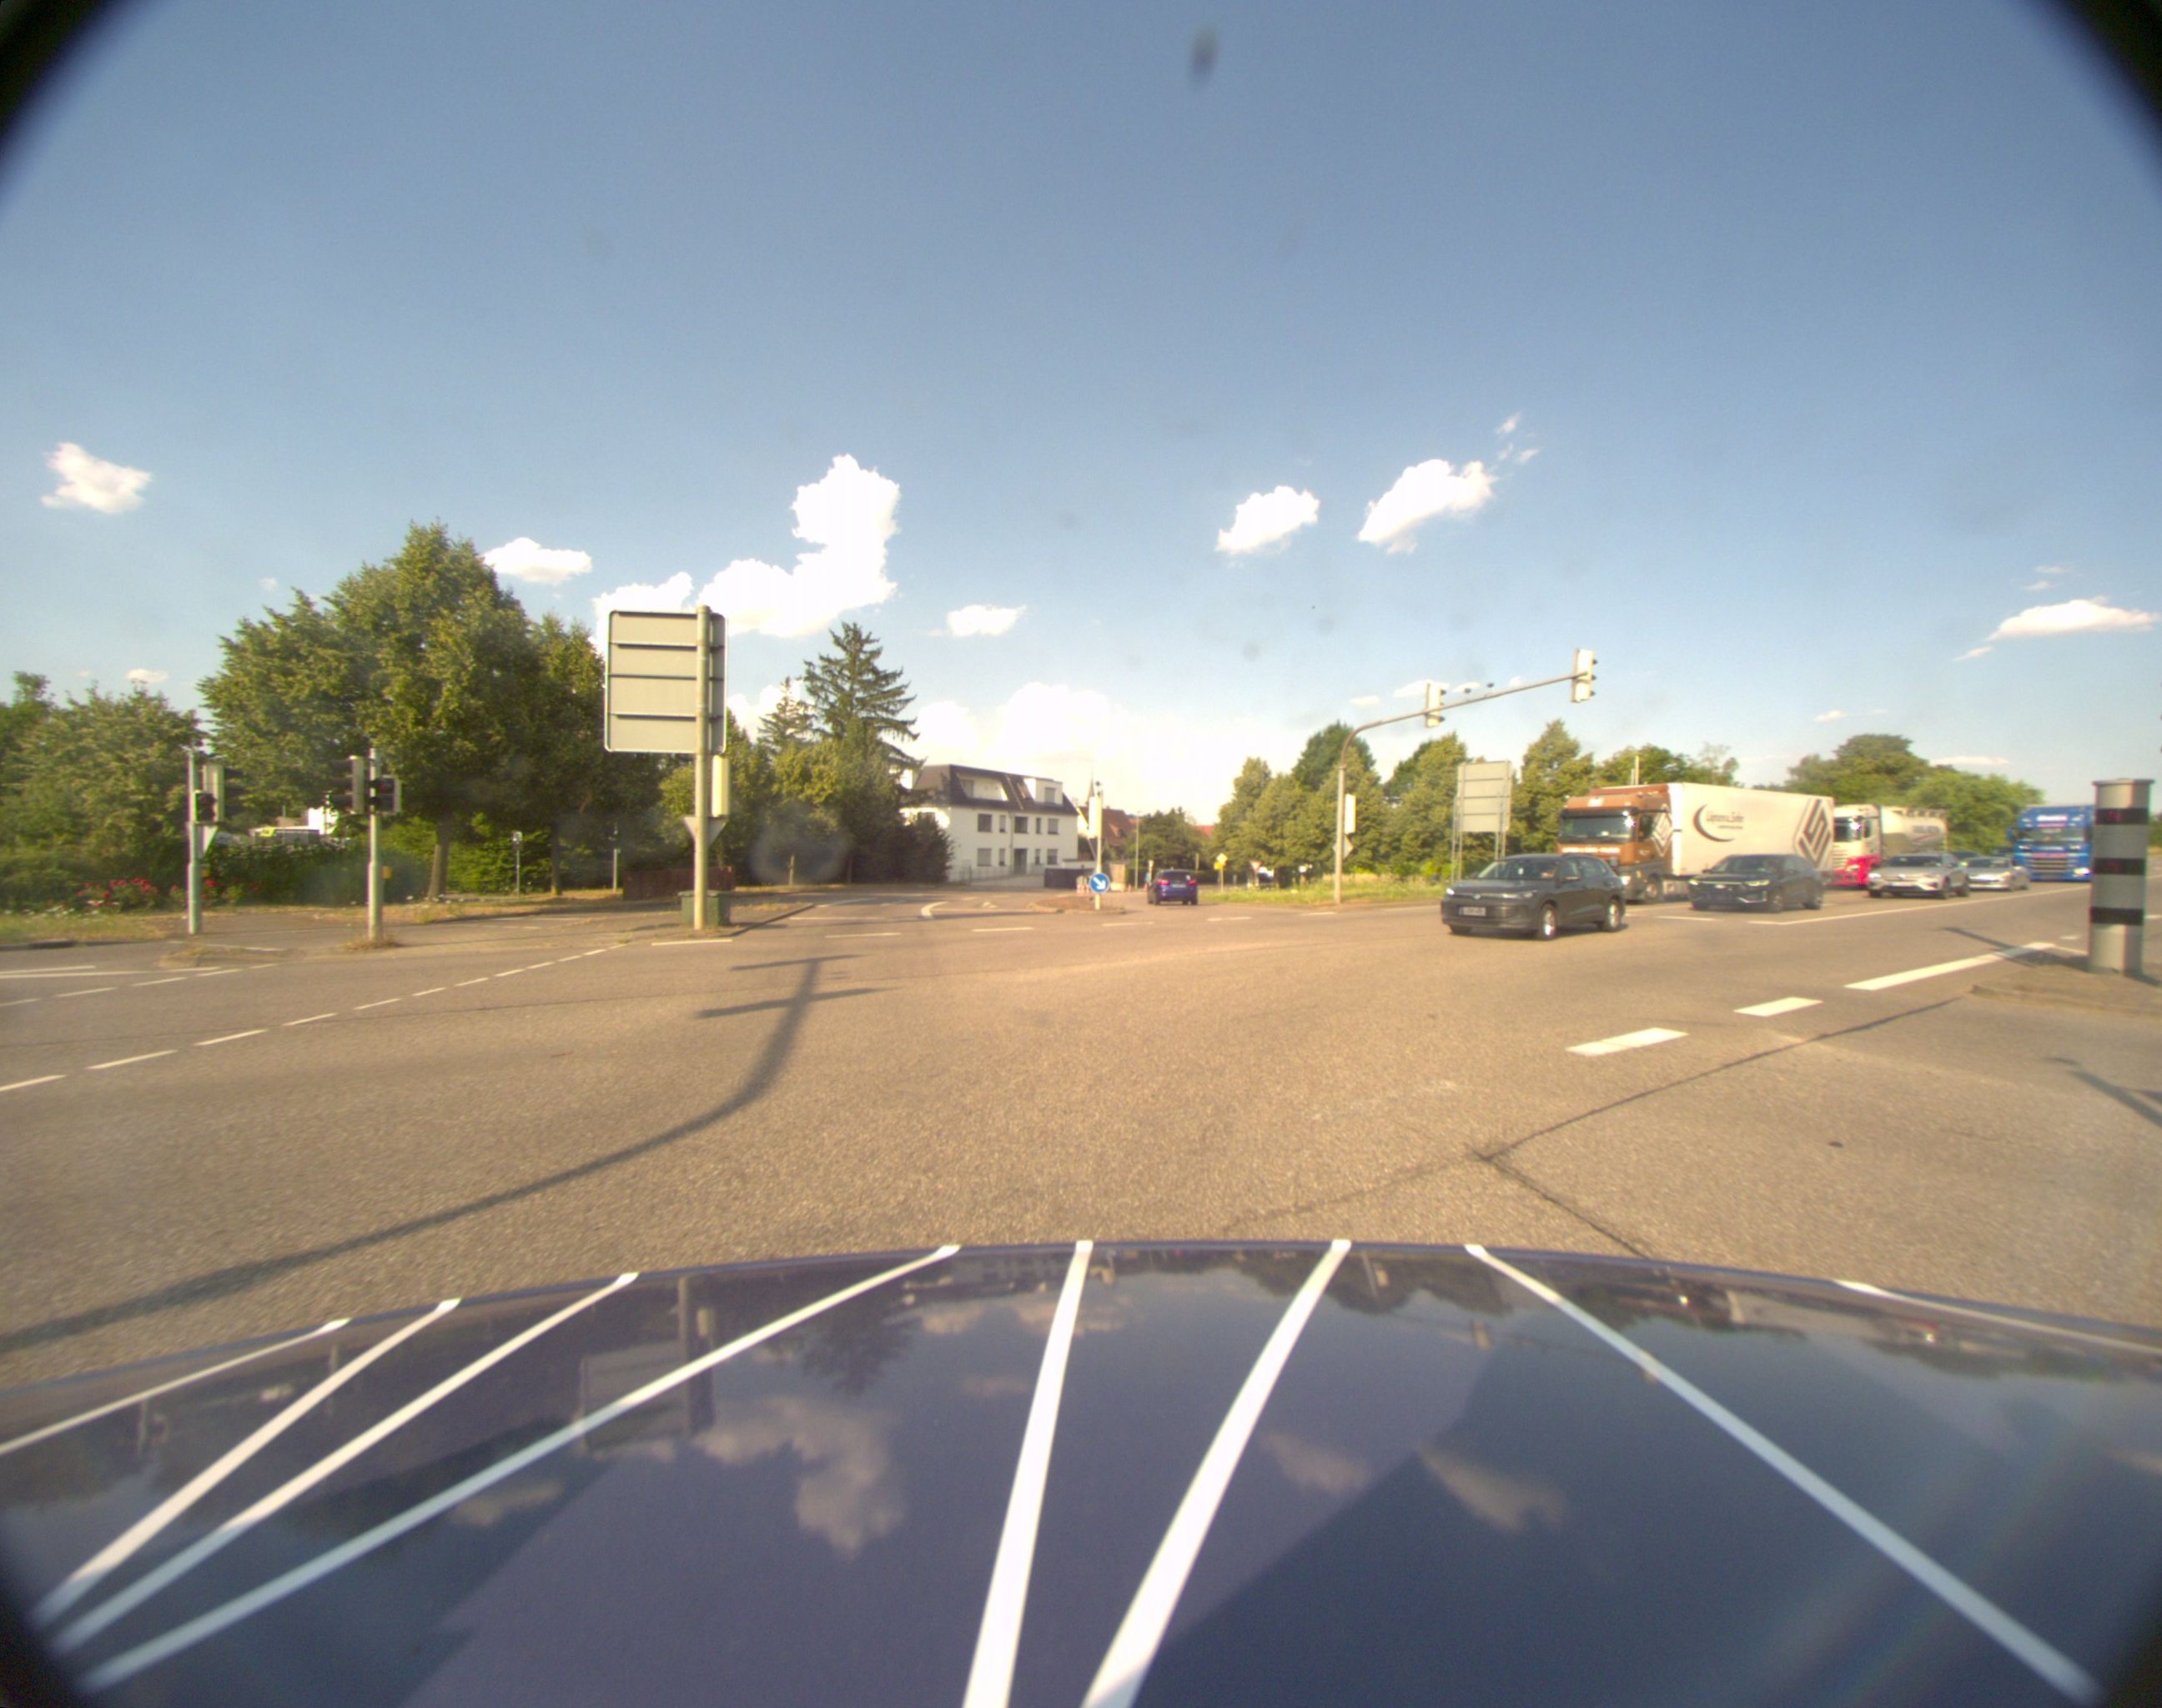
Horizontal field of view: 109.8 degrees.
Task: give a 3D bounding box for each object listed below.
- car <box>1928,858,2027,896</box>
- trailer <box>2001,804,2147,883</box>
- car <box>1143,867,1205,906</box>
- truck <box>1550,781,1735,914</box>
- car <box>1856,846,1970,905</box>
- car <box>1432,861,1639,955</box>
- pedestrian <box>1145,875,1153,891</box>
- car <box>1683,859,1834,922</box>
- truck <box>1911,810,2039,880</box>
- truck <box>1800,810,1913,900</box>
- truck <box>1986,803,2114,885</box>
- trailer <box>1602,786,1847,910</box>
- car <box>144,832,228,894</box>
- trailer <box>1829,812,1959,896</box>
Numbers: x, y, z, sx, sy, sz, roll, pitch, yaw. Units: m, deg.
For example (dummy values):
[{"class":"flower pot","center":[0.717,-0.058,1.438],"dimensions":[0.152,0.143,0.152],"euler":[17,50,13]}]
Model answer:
[{"class":"car","center":[37.413,0.936,31.697],"dimensions":[4.006,1.477,1.995],"euler":[0,-1,-31]},{"class":"trailer","center":[56.848,-0.518,43.348],"dimensions":[13.772,3.981,3.411],"euler":[0,0,-30]},{"class":"car","center":[3.839,1.373,32.103],"dimensions":[1.793,1.488,4.302],"euler":[-1,-2,-4]},{"class":"truck","center":[19.144,-0.194,25.803],"dimensions":[6.672,4.019,2.534],"euler":[0,0,-30]},{"class":"car","center":[30.229,0.724,27.591],"dimensions":[4.379,1.936,1.904],"euler":[-1,0,-31]},{"class":"car","center":[9.202,0.971,15.272],"dimensions":[4.477,1.619,1.785],"euler":[0,-1,-33]},{"class":"pedestrian","center":[7.293,3.083,81.478],"dimensions":[0.616,1.718,0.641],"euler":[-1,0,30]},{"class":"car","center":[19.285,0.961,21.595],"dimensions":[4.555,1.603,1.772],"euler":[0,0,-29]},{"class":"truck","center":[52.932,-0.489,44.821],"dimensions":[12.919,3.751,2.525],"euler":[0,0,-30]},{"class":"truck","center":[35.170,0.034,34.414],"dimensions":[5.695,3.782,2.258],"euler":[0,0,-30]},{"class":"truck","center":[50.678,-0.485,39.739],"dimensions":[5.610,3.981,3.368],"euler":[0,0,-30]},{"class":"trailer","center":[25.276,-0.147,29.386],"dimensions":[14.359,4.042,2.534],"euler":[0,-1,-30]},{"class":"car","center":[-38.965,0.399,33.053],"dimensions":[5.125,2.491,2.004],"euler":[-1,0,37]},{"class":"trailer","center":[39.970,0.026,37.233],"dimensions":[9.540,3.754,2.261],"euler":[0,-1,-30]}]
